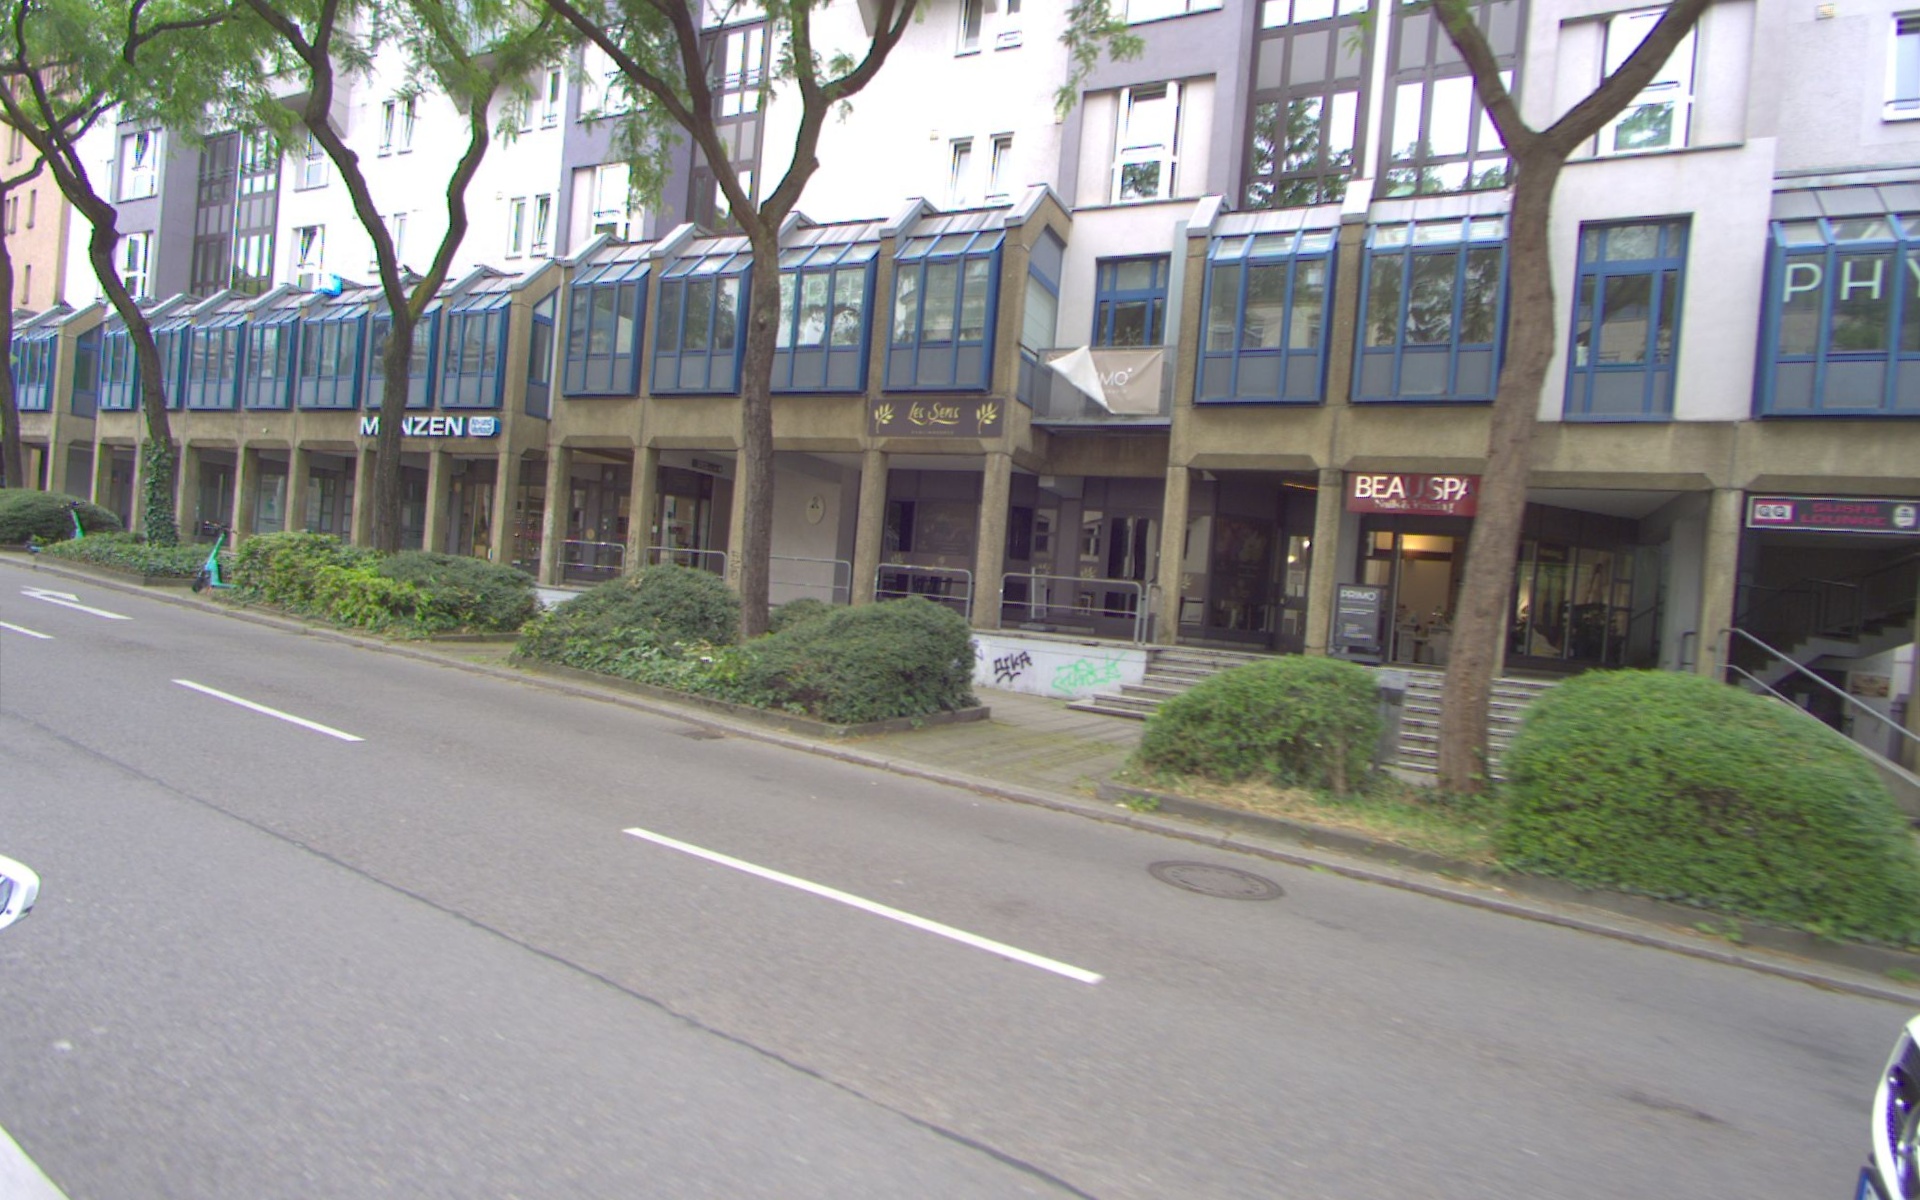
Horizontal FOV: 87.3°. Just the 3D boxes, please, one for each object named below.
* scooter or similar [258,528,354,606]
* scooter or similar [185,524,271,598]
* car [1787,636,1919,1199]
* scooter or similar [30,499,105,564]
[{"bbox_3d":[-11.766,-0.581,18.121,0.712,1.285,1.196,7,3,31],"label":"scooter or similar"},{"bbox_3d":[-12.874,-0.675,17.711,0.421,1.197,1.104,8,3,41],"label":"scooter or similar"},{"bbox_3d":[3.648,1.089,0.789,4.260,1.668,1.803,6,2,30],"label":"car"},{"bbox_3d":[-19.612,-1.493,22.107,0.419,1.302,1.159,8,4,40],"label":"scooter or similar"}]
